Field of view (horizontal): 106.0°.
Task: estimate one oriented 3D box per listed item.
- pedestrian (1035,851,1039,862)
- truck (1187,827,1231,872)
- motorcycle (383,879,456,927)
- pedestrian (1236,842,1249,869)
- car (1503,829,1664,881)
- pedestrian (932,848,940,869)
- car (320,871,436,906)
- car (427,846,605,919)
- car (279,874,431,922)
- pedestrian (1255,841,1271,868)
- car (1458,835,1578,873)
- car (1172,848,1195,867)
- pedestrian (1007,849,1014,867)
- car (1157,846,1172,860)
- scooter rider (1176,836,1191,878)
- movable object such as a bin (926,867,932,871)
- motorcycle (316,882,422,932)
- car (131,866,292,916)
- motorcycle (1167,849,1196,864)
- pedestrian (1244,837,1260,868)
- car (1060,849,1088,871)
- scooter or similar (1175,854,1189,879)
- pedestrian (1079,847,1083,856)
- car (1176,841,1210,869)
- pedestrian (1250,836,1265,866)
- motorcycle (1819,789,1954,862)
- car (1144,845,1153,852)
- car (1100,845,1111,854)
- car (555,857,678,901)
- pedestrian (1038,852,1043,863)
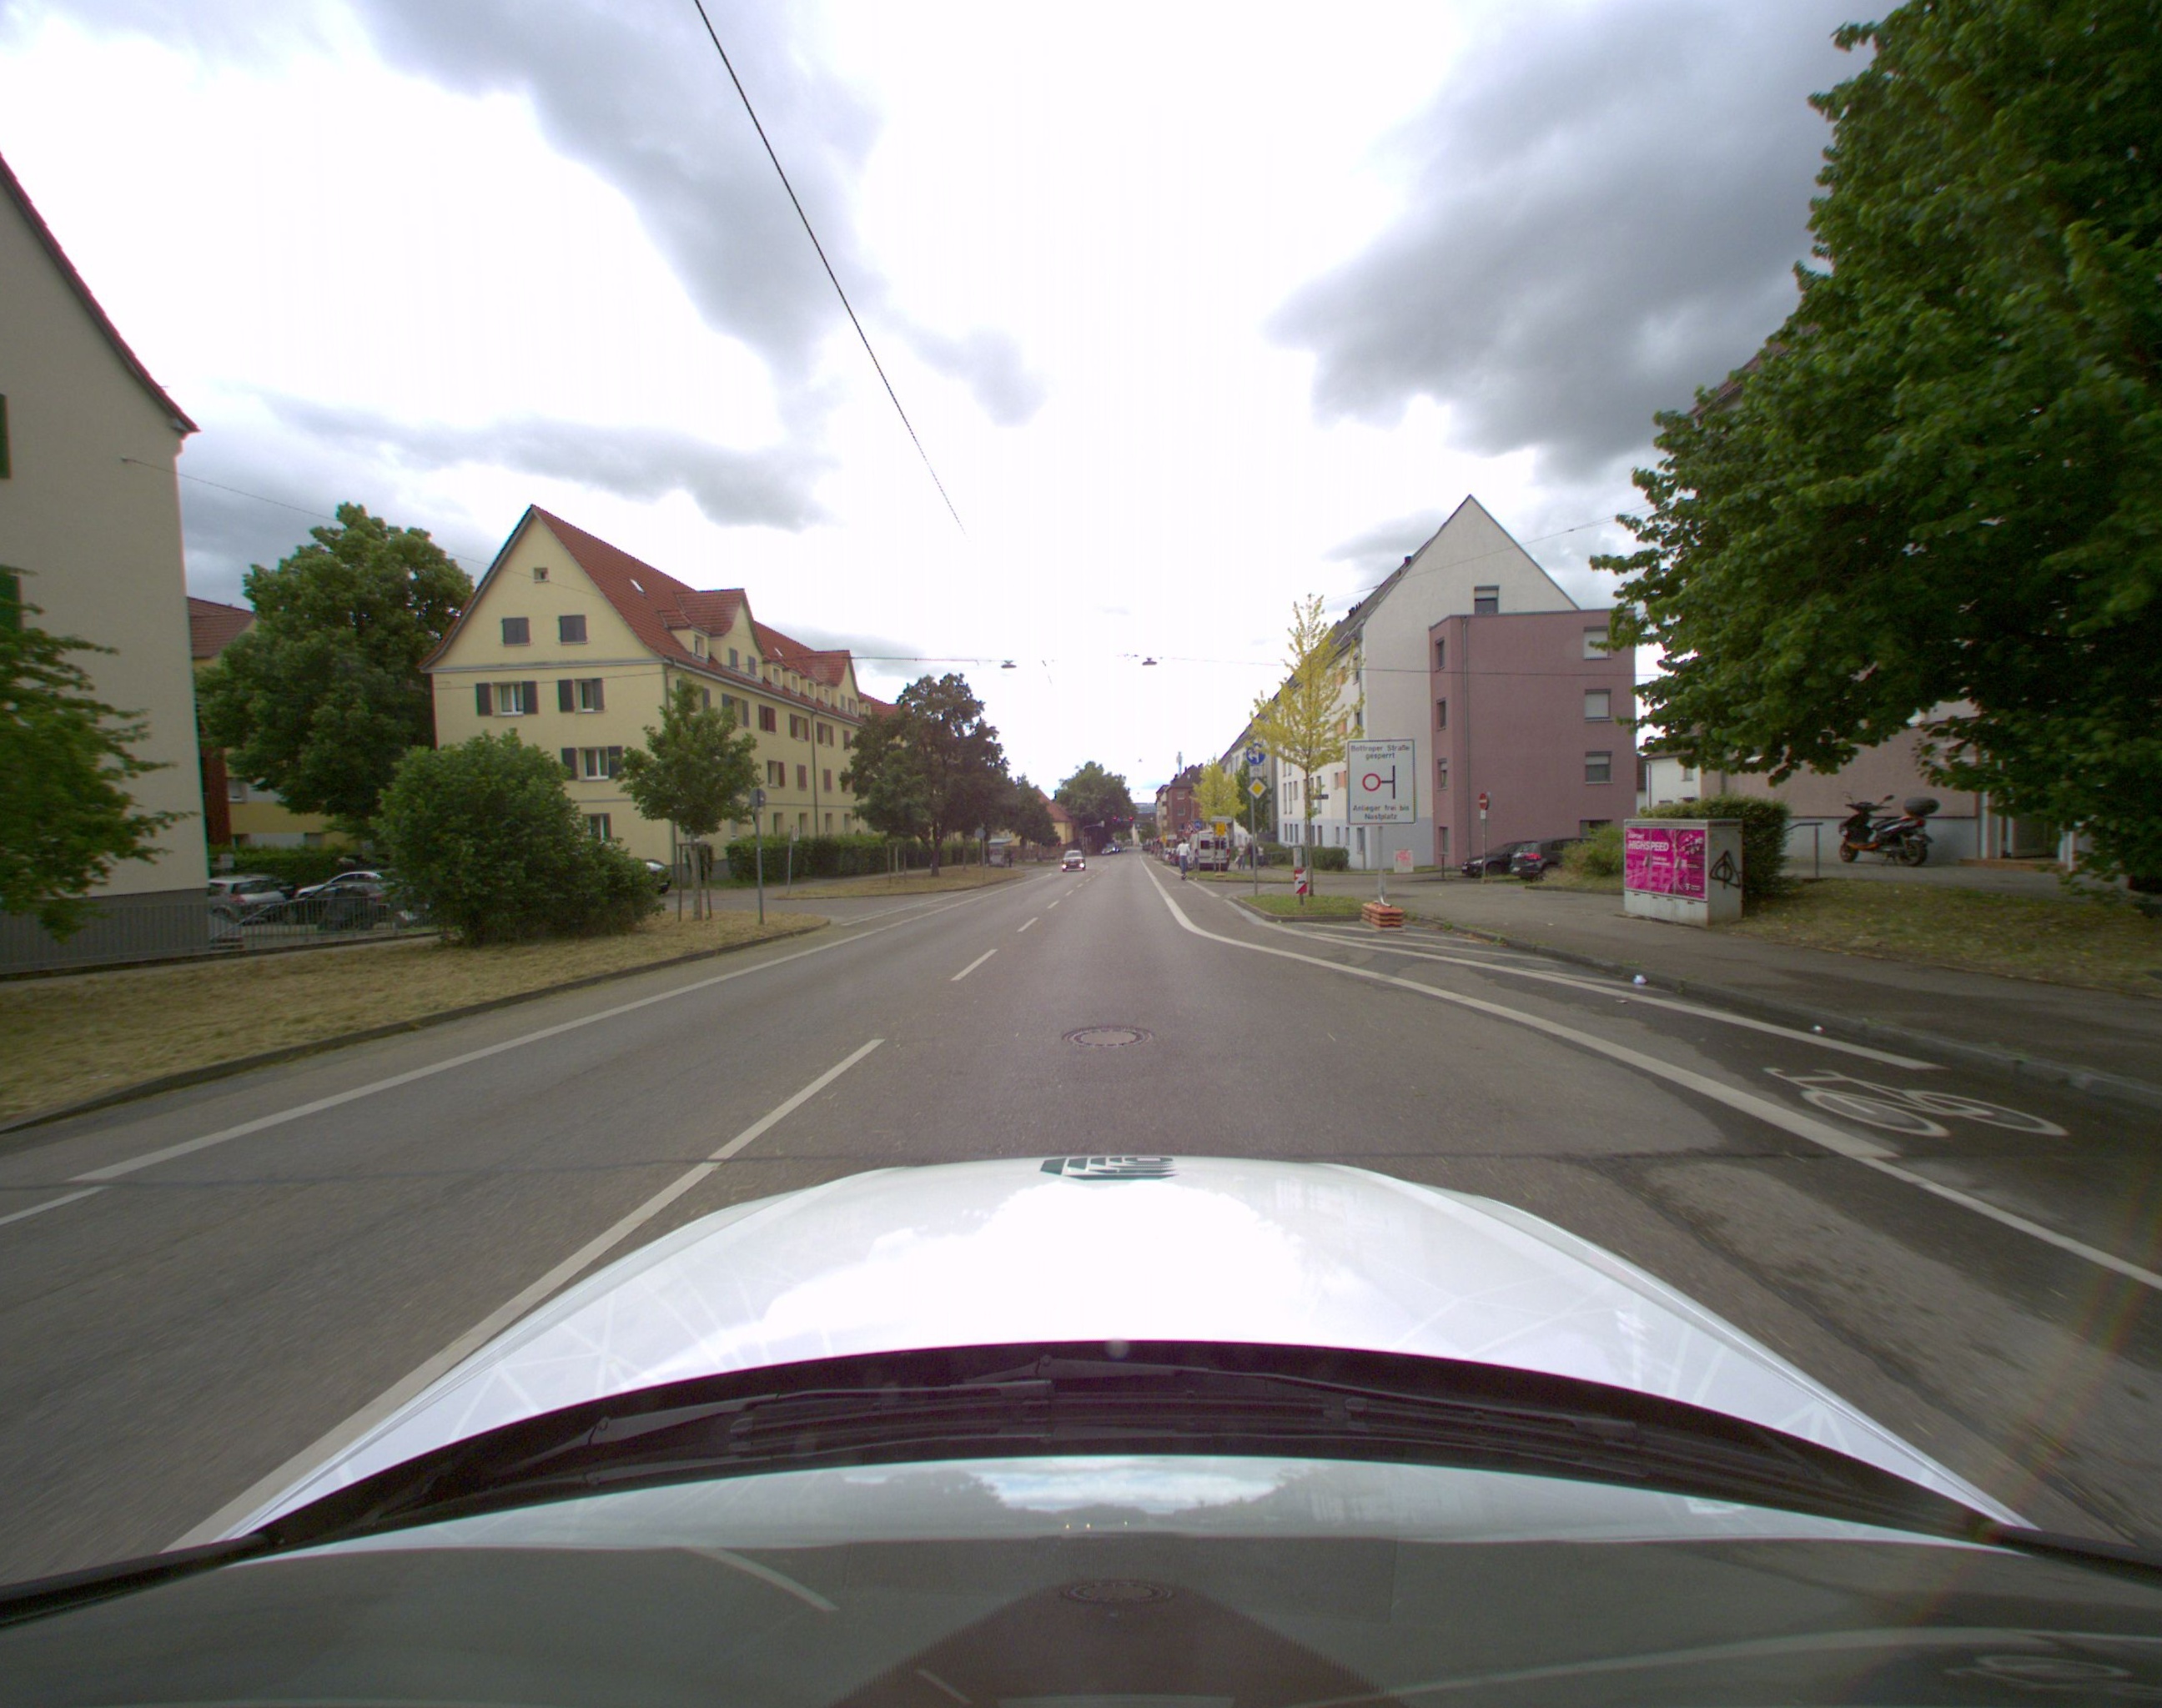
[{"bbox_3d":[-7.177,0.462,133.634,0.561,1.777,0.718,-1,0,3],"label":"pedestrian"},{"bbox_3d":[7.761,-0.275,49.980,2.044,2.565,5.694,-1,1,3],"label":"truck"},{"bbox_3d":[-19.447,1.394,23.932,2.572,1.278,1.023,-1,1,36],"label":"motorcycle"},{"bbox_3d":[10.141,0.087,51.188,0.576,1.644,0.559,-2,-1,-11],"label":"pedestrian"},{"bbox_3d":[15.830,0.062,25.806,3.970,1.453,1.690,-2,-1,3],"label":"car"},{"bbox_3d":[-12.071,0.356,67.750,0.511,1.779,0.754,-1,0,3],"label":"pedestrian"},{"bbox_3d":[-29.025,1.417,33.663,3.401,1.238,1.544,-1,4,3],"label":"car"},{"bbox_3d":[-19.230,0.940,27.871,4.697,2.253,1.997,-2,0,4],"label":"car"},{"bbox_3d":[-24.833,1.501,27.932,3.798,1.467,1.748,-1,0,6],"label":"car"},{"bbox_3d":[11.304,0.015,50.518,0.656,1.605,0.574,-6,1,-6],"label":"pedestrian"},{"bbox_3d":[17.840,-0.017,33.414,3.968,1.456,1.762,-1,0,5],"label":"car"},{"bbox_3d":[8.990,0.289,71.733,1.674,1.544,4.342,-1,1,2],"label":"car"},{"bbox_3d":[-7.084,0.396,81.777,0.594,1.726,0.862,-1,0,6],"label":"pedestrian"},{"bbox_3d":[10.622,-0.195,103.825,1.652,1.715,4.555,0,1,2],"label":"car"},{"bbox_3d":[4.972,0.141,39.649,0.623,2.013,0.758,-1,0,3],"label":"scooter rider"},{"bbox_3d":[-12.718,1.261,68.018,0.304,0.347,0.583,-1,1,9],"label":"movable object such as a bin"},{"bbox_3d":[-21.272,1.539,24.443,1.012,1.278,2.601,-1,1,-5],"label":"motorcycle"},{"bbox_3d":[-30.254,1.277,28.412,3.801,1.566,1.747,-1,0,3],"label":"car"},{"bbox_3d":[9.220,0.213,74.803,2.589,1.278,0.753,-1,0,-1],"label":"motorcycle"},{"bbox_3d":[10.565,-0.111,50.277,0.670,1.886,0.764,-2,-1,-9],"label":"pedestrian"},{"bbox_3d":[-0.520,0.426,64.892,1.891,1.620,4.367,-1,1,4],"label":"car"},{"bbox_3d":[4.898,0.603,39.537,0.488,1.163,2.076,-1,1,3],"label":"scooter or similar"},{"bbox_3d":[-0.006,-0.437,155.359,0.670,1.765,0.727,-1,0,6],"label":"pedestrian"},{"bbox_3d":[8.249,0.020,60.420,1.985,1.944,5.216,-1,1,3],"label":"car"},{"bbox_3d":[11.204,-0.170,51.642,0.671,1.886,0.617,-2,-1,-14],"label":"pedestrian"},{"bbox_3d":[14.699,-0.494,14.939,0.588,1.227,1.969,-1,0,3],"label":"motorcycle"},{"bbox_3d":[17.938,-1.441,217.101,1.986,1.935,4.920,-1,1,1],"label":"car"},{"bbox_3d":[4.801,-0.893,159.080,1.747,1.472,4.315,-3,1,7],"label":"car"},{"bbox_3d":[-18.673,0.993,32.846,3.888,1.529,1.693,-1,4,3],"label":"car"},{"bbox_3d":[-6.342,0.539,127.679,0.560,1.566,0.844,-1,0,9],"label":"pedestrian"}]
